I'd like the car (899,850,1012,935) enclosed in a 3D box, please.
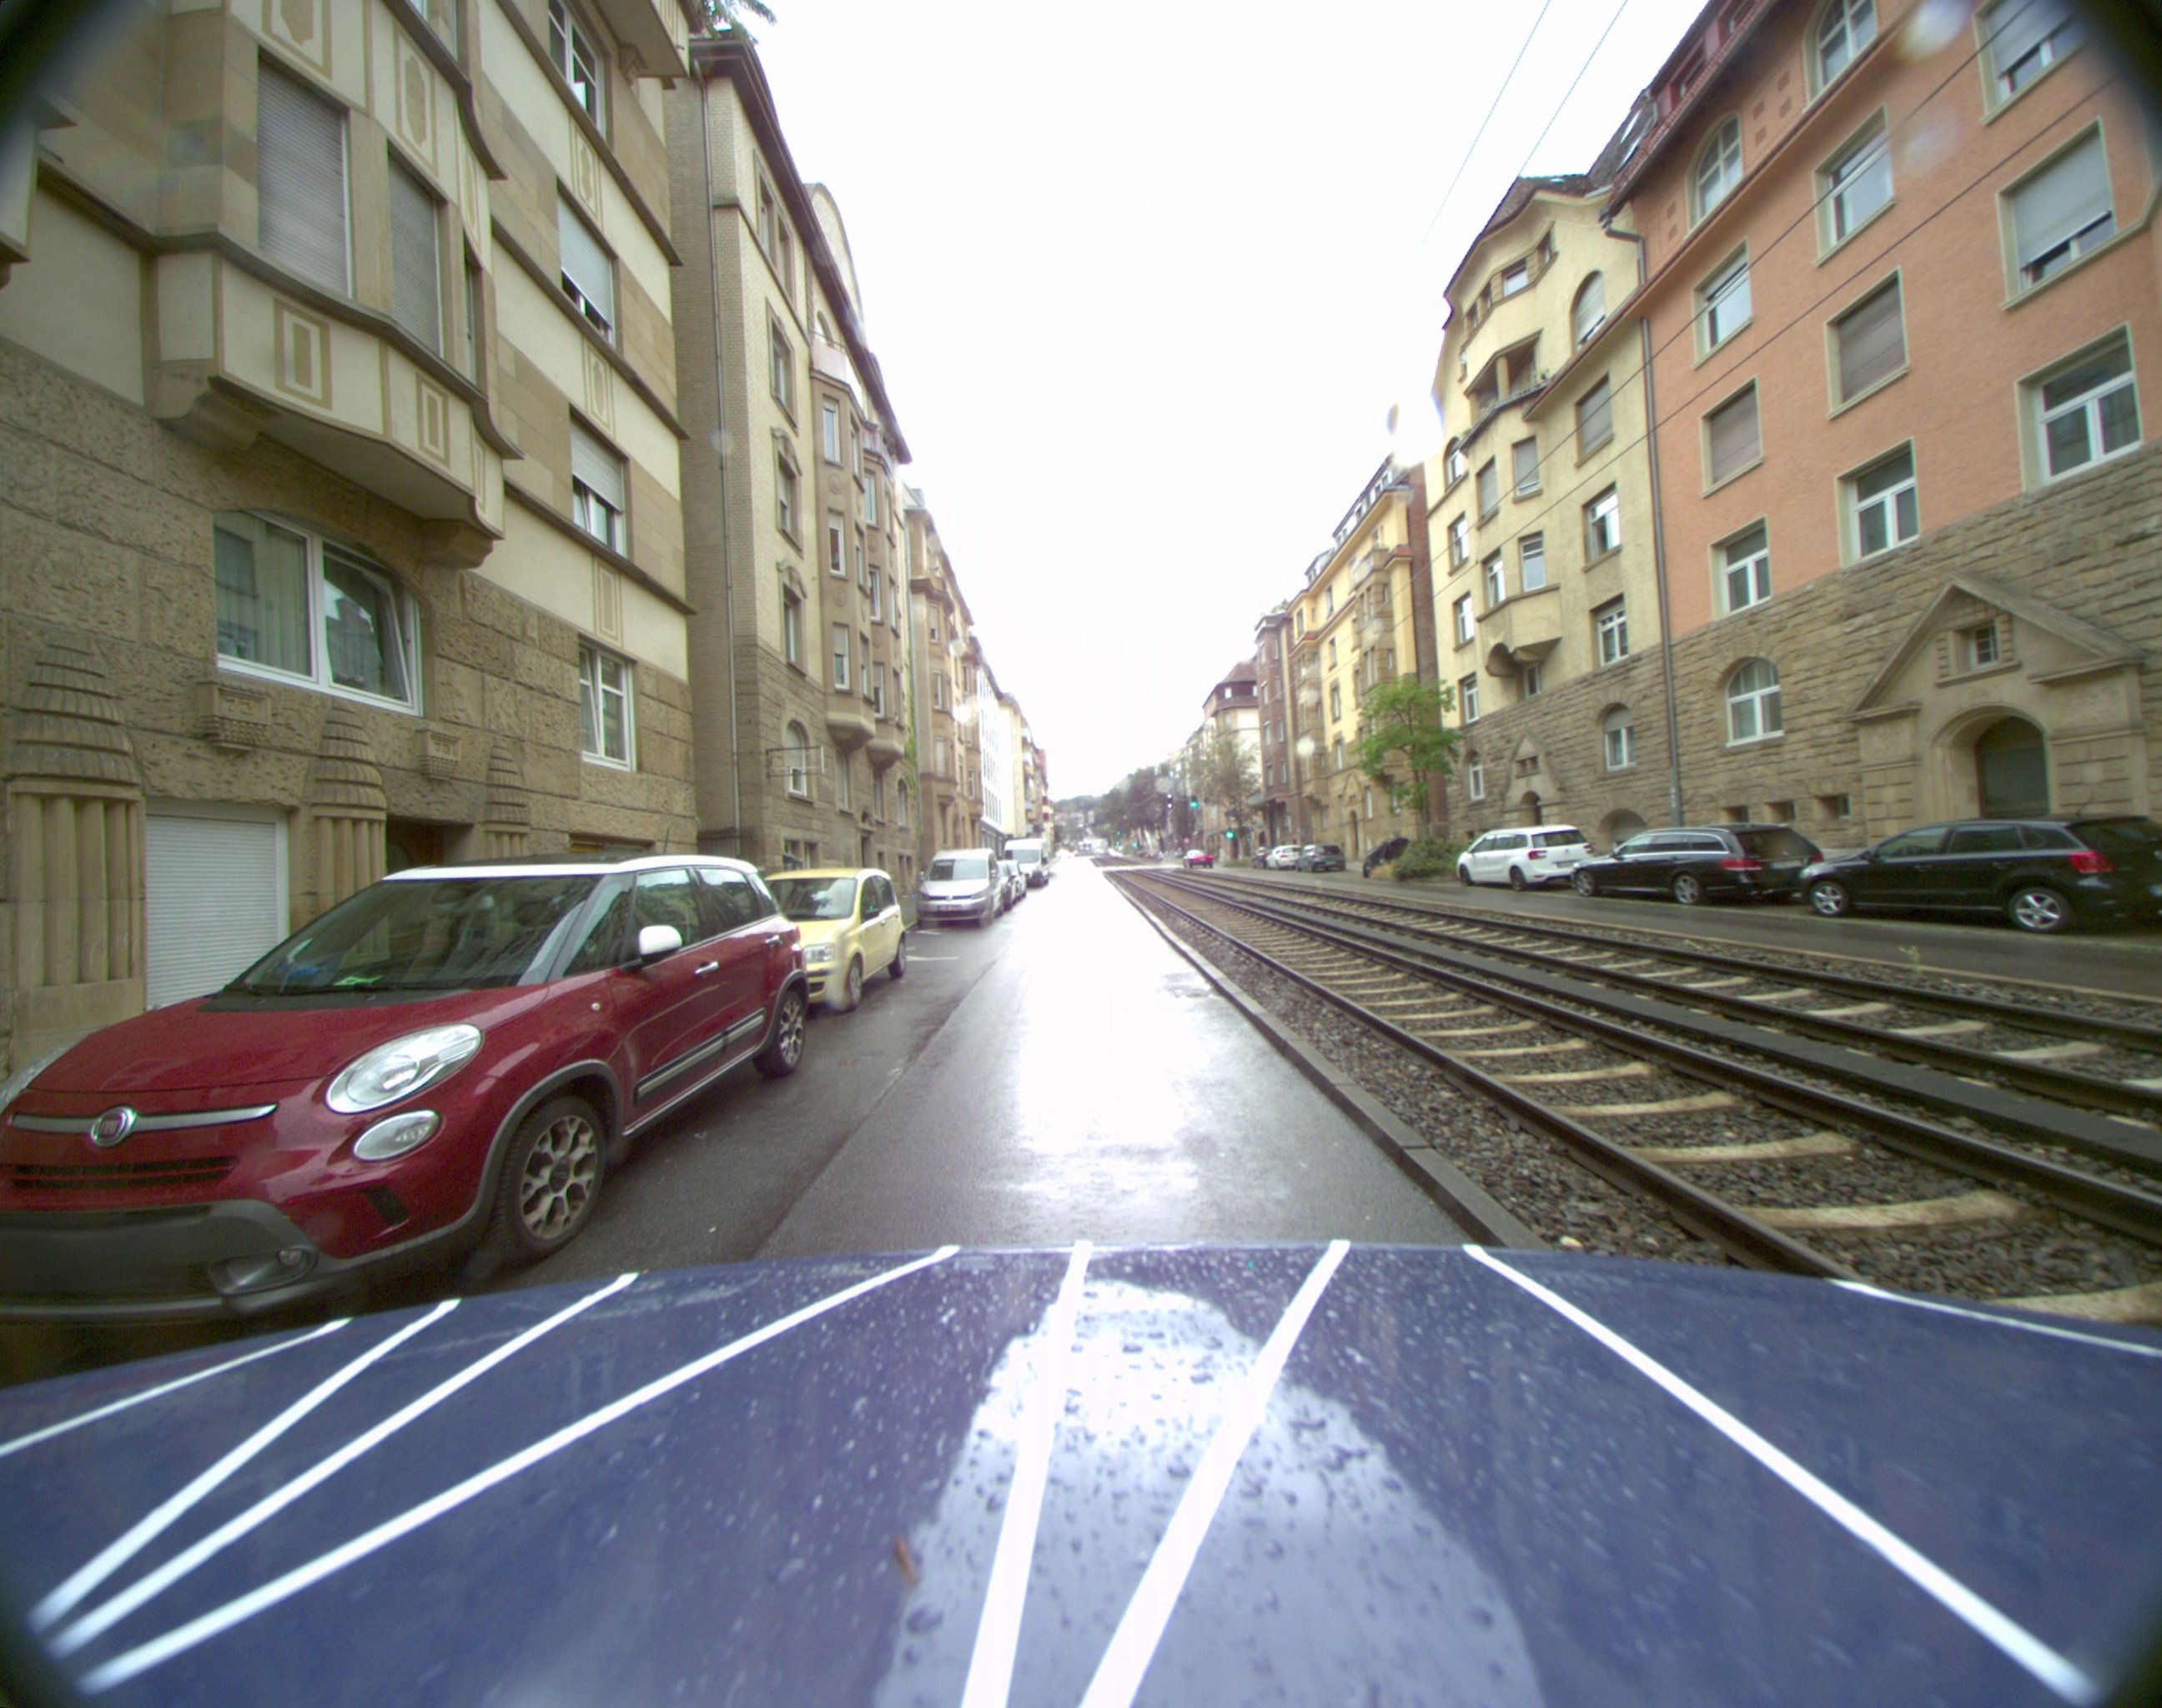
[{"bbox_3d":[-3.008,0.858,19.222,1.968,1.792,4.459,-3,0,1],"label":"car"}]

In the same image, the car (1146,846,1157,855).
[{"bbox_3d":[12.433,-0.630,133.727,1.632,1.537,3.801,-3,0,1],"label":"car"}]

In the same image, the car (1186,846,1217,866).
[{"bbox_3d":[9.852,0.117,62.391,1.807,1.514,4.964,-2,0,2],"label":"car"}]

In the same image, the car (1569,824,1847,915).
[{"bbox_3d":[12.294,0.260,15.407,1.847,1.486,4.601,-3,0,1],"label":"car"}]

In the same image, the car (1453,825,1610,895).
[{"bbox_3d":[12.275,0.148,21.069,1.867,1.646,4.146,-3,0,1],"label":"car"}]

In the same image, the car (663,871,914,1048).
[{"bbox_3d":[-3.187,1.050,9.063,1.580,1.520,3.578,-3,0,-1],"label":"car"}]

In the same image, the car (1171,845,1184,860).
[{"bbox_3d":[12.671,-0.229,99.568,1.583,1.669,3.790,-3,2,7],"label":"car"}]

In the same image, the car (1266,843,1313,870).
[{"bbox_3d":[12.473,0.131,45.676,1.771,1.433,4.031,-3,0,2],"label":"car"}]

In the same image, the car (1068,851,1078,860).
[{"bbox_3d":[-1.750,0.328,167.867,1.998,1.838,4.000,-3,0,1],"label":"car"}]

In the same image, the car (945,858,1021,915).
[{"bbox_3d":[-2.962,0.948,23.838,1.999,1.521,3.999,-3,0,-3],"label":"car"}]

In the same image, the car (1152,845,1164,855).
[{"bbox_3d":[12.837,-0.630,126.858,1.657,1.589,3.775,-3,0,1],"label":"car"}]

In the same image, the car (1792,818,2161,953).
[{"bbox_3d":[12.531,0.328,10.489,1.935,1.488,3.641,-2,1,-2],"label":"car"}]

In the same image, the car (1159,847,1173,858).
[{"bbox_3d":[12.868,-0.272,115.388,1.771,1.507,3.845,-3,0,1],"label":"car"}]

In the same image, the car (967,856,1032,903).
[{"bbox_3d":[-2.951,0.890,28.339,1.891,1.521,3.929,-3,0,1],"label":"car"}]

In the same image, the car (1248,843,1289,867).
[{"bbox_3d":[12.483,0.078,50.771,1.771,1.433,3.845,-3,0,1],"label":"car"}]

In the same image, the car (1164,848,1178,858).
[{"bbox_3d":[12.572,-0.084,106.406,1.583,1.303,3.845,-3,0,1],"label":"car"}]

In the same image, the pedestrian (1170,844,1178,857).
[{"bbox_3d":[14.820,-0.605,120.540,1.056,1.946,1.163,-3,1,2],"label":"pedestrian"}]

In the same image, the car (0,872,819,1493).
[{"bbox_3d":[-3.030,0.988,4.115,1.807,1.590,3.999,-3,0,-1],"label":"car"}]

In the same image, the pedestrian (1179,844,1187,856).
[{"bbox_3d":[16.145,-0.655,120.528,1.056,1.946,1.163,-3,1,2],"label":"pedestrian"}]

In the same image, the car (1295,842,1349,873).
[{"bbox_3d":[12.506,0.142,39.637,1.678,1.433,3.845,-4,1,3],"label":"car"}]

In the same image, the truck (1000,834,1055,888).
[{"bbox_3d":[-2.722,0.351,39.968,2.235,2.521,6.143,-3,0,1],"label":"truck"}]
